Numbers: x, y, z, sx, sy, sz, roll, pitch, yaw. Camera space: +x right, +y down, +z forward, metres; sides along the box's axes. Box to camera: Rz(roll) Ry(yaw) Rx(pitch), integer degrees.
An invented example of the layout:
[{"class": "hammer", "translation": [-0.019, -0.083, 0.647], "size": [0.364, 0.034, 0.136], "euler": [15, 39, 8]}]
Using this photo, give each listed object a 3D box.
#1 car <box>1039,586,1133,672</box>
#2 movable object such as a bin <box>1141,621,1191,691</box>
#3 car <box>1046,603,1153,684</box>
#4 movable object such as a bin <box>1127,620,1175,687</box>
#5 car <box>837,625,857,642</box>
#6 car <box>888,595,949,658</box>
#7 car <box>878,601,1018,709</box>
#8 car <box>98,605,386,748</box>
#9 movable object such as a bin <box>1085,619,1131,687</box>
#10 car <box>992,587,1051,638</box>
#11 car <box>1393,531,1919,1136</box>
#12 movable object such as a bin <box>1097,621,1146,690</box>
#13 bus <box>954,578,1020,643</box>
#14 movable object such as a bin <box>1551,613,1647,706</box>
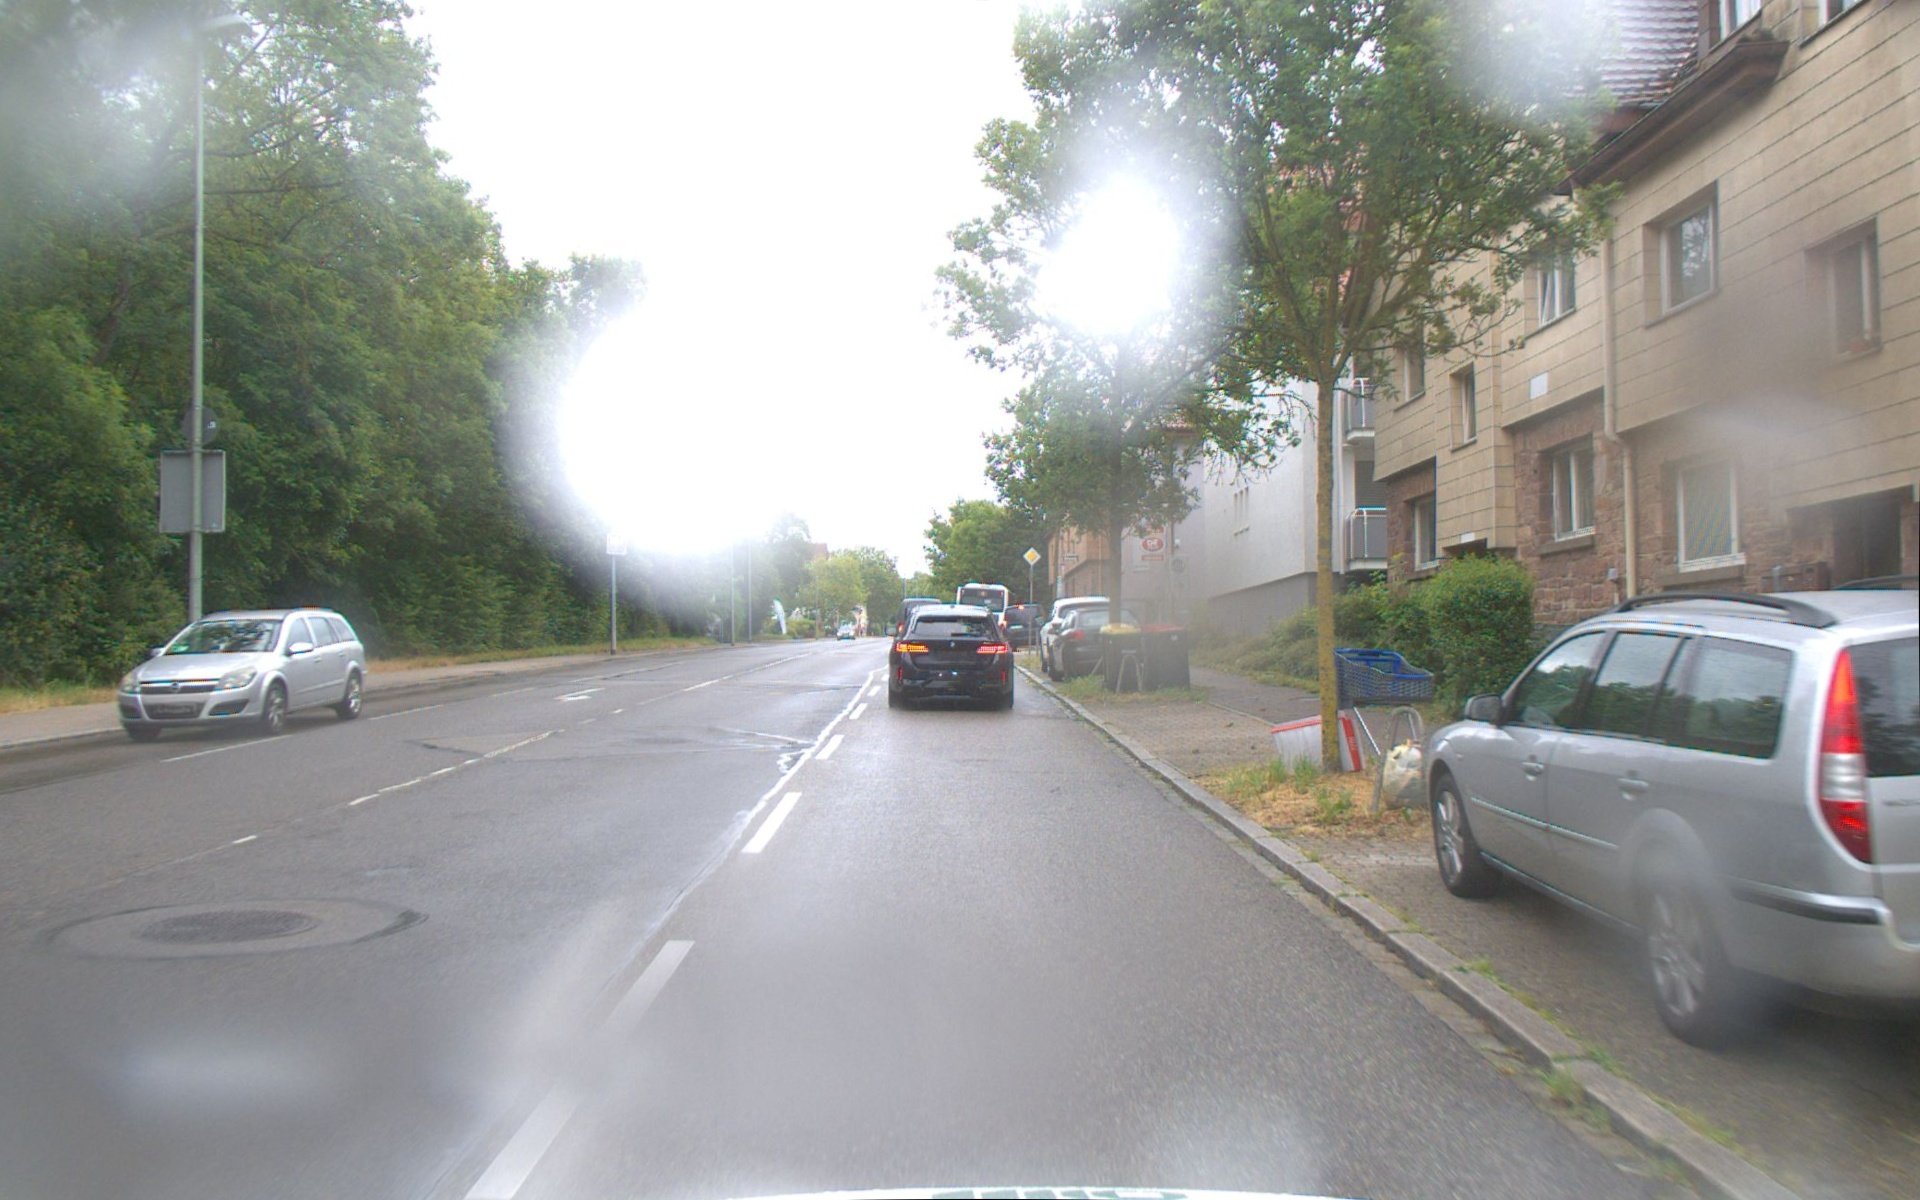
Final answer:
[{"class": "car", "translation": [2.824, 0.608, 37.892], "size": [1.787, 1.803, 4.540], "euler": [-2, 0, 0]}, {"class": "movable object such as a bin", "translation": [3.330, 0.900, 26.823], "size": [0.607, 1.068, 0.822], "euler": [-3, 0, -4]}, {"class": "car", "translation": [2.684, 0.819, 32.542], "size": [1.608, 1.474, 3.996], "euler": [-1, 0, -2]}, {"class": "movable object such as a bin", "translation": [3.200, 0.886, 27.743], "size": [0.607, 1.068, 0.822], "euler": [-3, 0, -4]}, {"class": "car", "translation": [-11.278, 3.290, 164.801], "size": [1.734, 1.560, 3.999], "euler": [-2, 0, -1]}, {"class": "car", "translation": [-1.349, 0.860, 55.355], "size": [1.953, 2.049, 3.999], "euler": [0, 0, -1]}, {"class": "car", "translation": [-0.200, 0.784, 25.636], "size": [1.953, 1.478, 3.999], "euler": [2, 0, -1]}, {"class": "car", "translation": [-8.847, 0.870, 20.834], "size": [1.655, 1.508, 4.451], "euler": [-3, 0, 0]}, {"class": "movable object such as a bin", "translation": [2.477, 0.877, 27.722], "size": [0.607, 1.068, 0.822], "euler": [-3, 0, -4]}, {"class": "car", "translation": [2.608, 0.537, 69.299], "size": [1.886, 1.925, 4.764], "euler": [-4, -1, 7]}, {"class": "car", "translation": [3.296, 0.578, 6.898], "size": [1.667, 1.611, 4.643], "euler": [-4, 1, 0]}, {"class": "movable object such as a bin", "translation": [2.613, 0.891, 26.826], "size": [0.607, 1.068, 0.822], "euler": [-3, 0, -4]}, {"class": "bus", "translation": [1.402, 0.474, 80.785], "size": [2.568, 2.897, 8.293], "euler": [-2, 0, 5]}, {"class": "movable object such as a bin", "translation": [7.089, 0.647, 18.394], "size": [0.686, 0.982, 0.941], "euler": [1, 1, -1]}]
